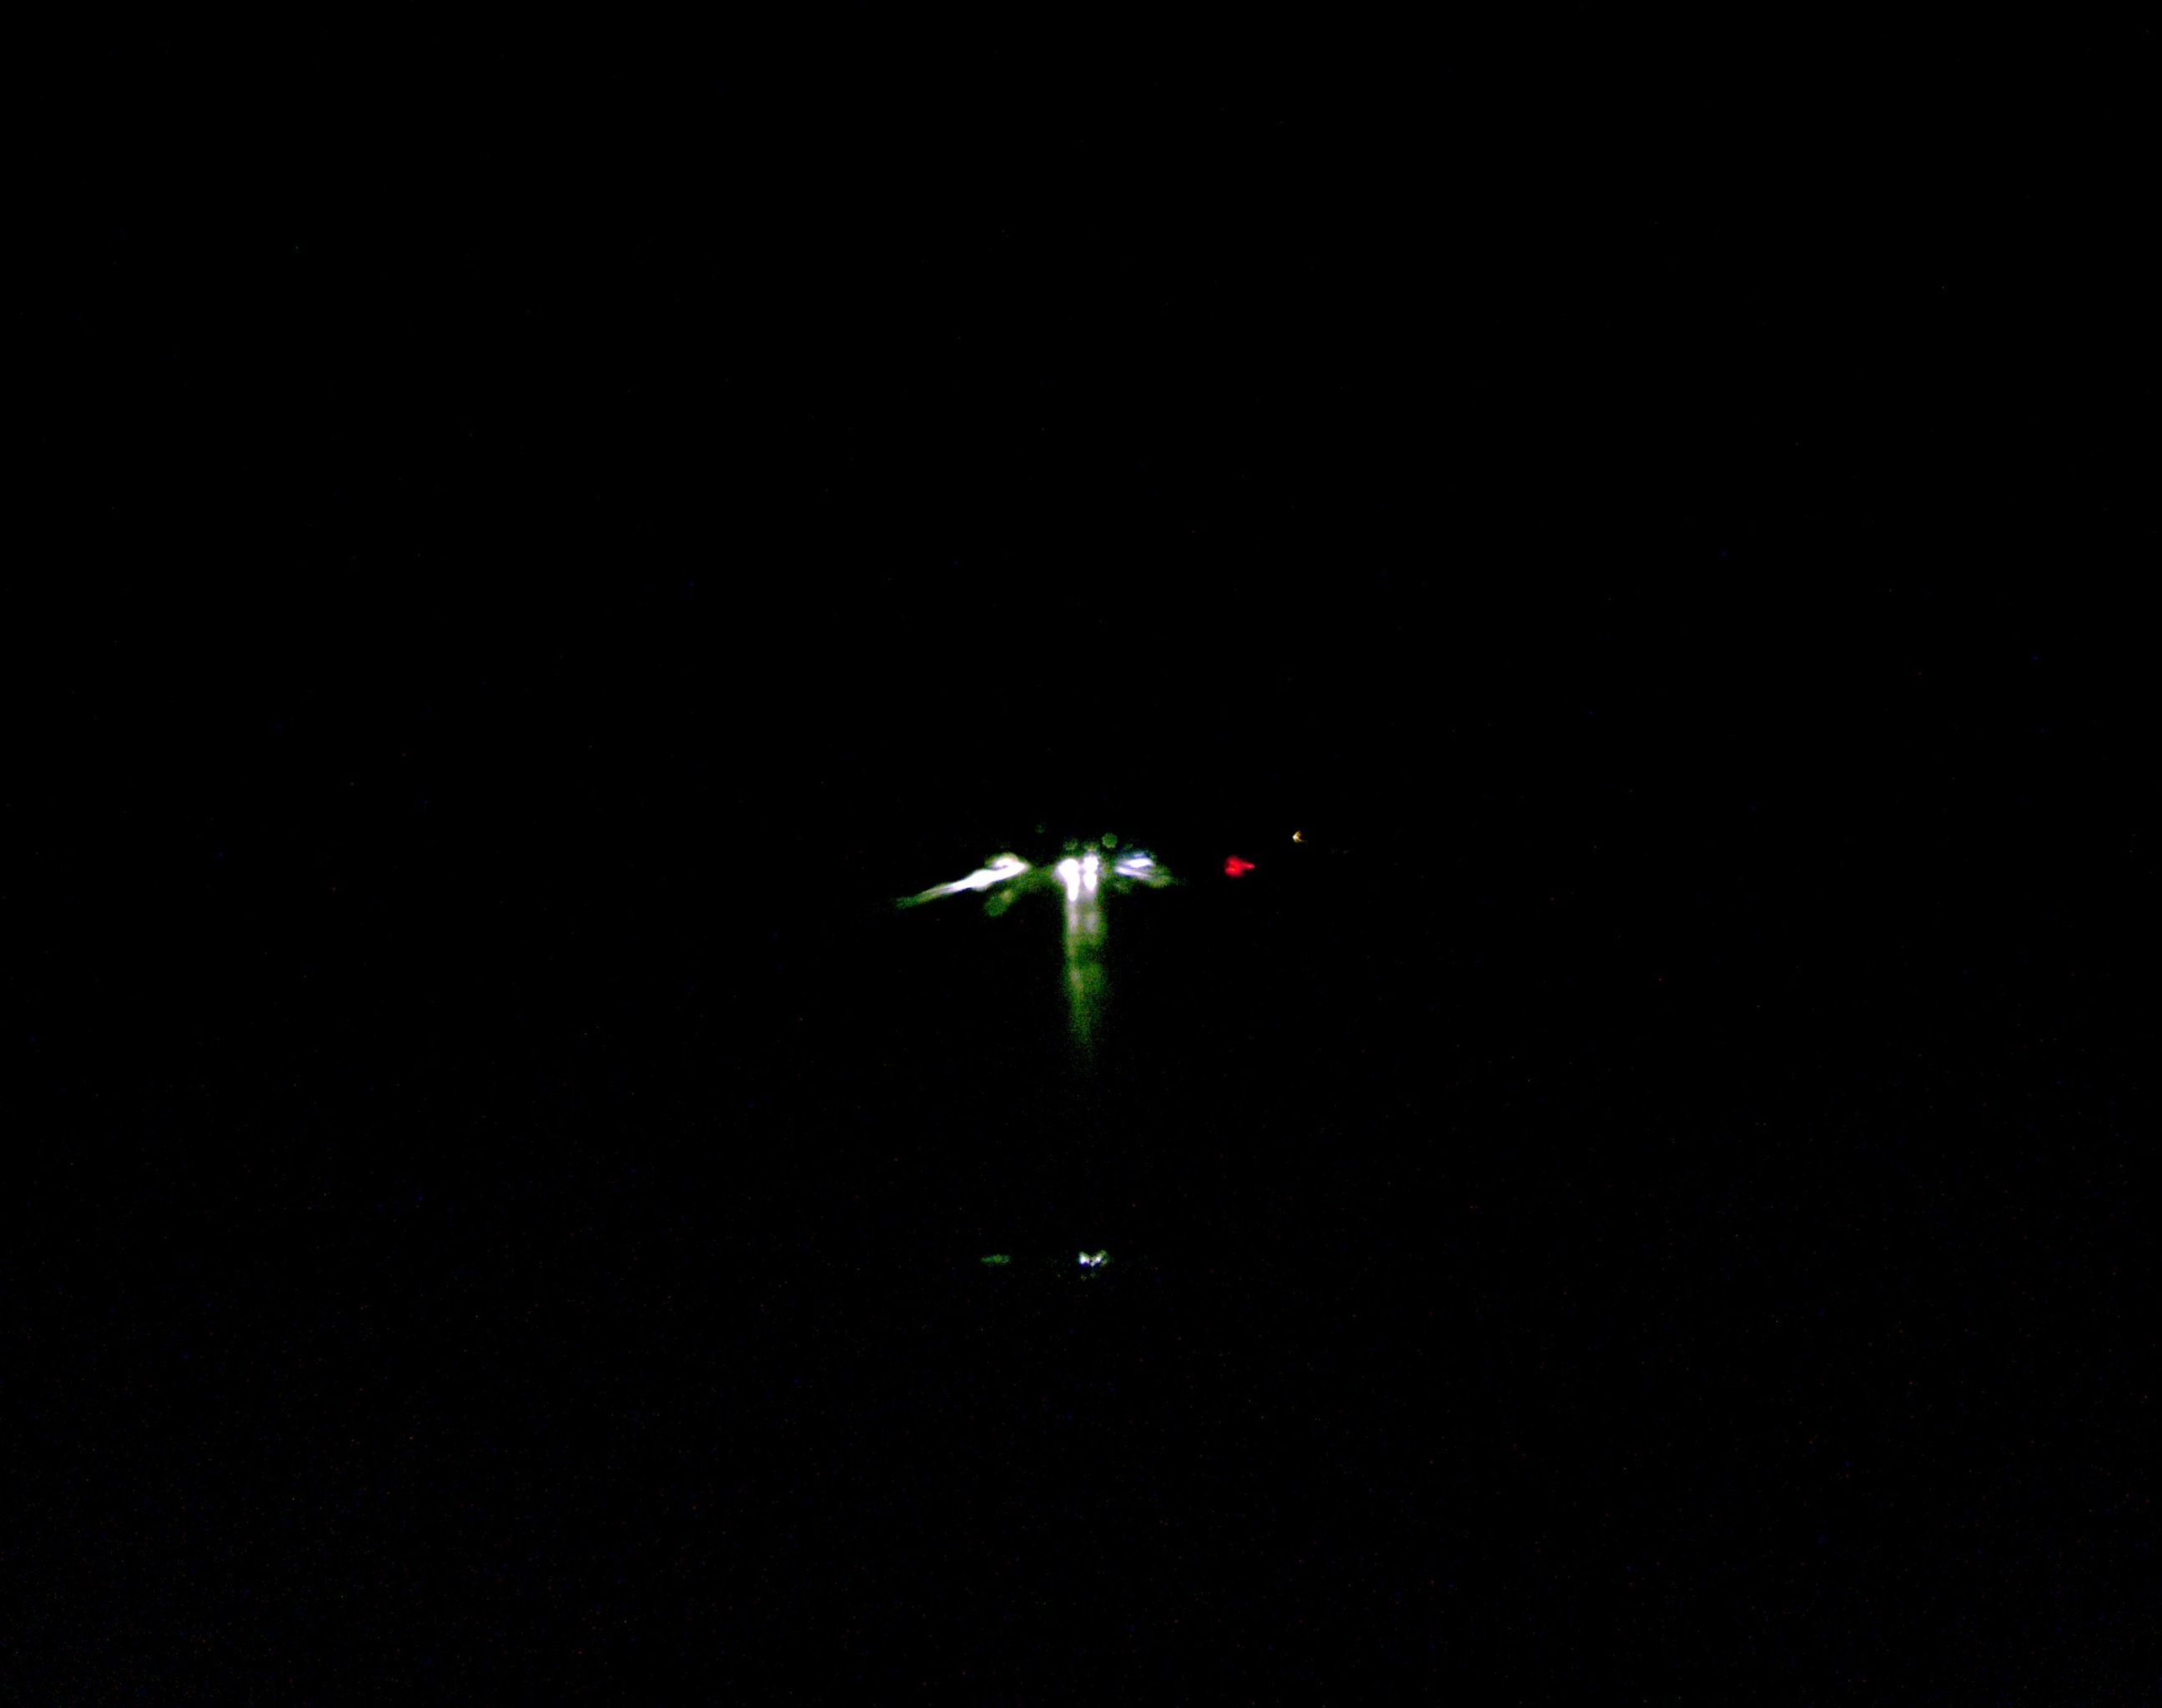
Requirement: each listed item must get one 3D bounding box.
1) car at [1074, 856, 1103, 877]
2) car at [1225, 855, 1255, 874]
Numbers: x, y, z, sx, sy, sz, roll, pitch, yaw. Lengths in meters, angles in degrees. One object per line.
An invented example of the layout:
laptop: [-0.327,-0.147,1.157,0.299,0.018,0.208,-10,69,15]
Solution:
car: [0.672,1.087,67.366,1.997,1.737,4.103,-1,-1,8]
car: [14.220,0.933,68.207,1.758,1.630,4.000,-1,-1,-1]
